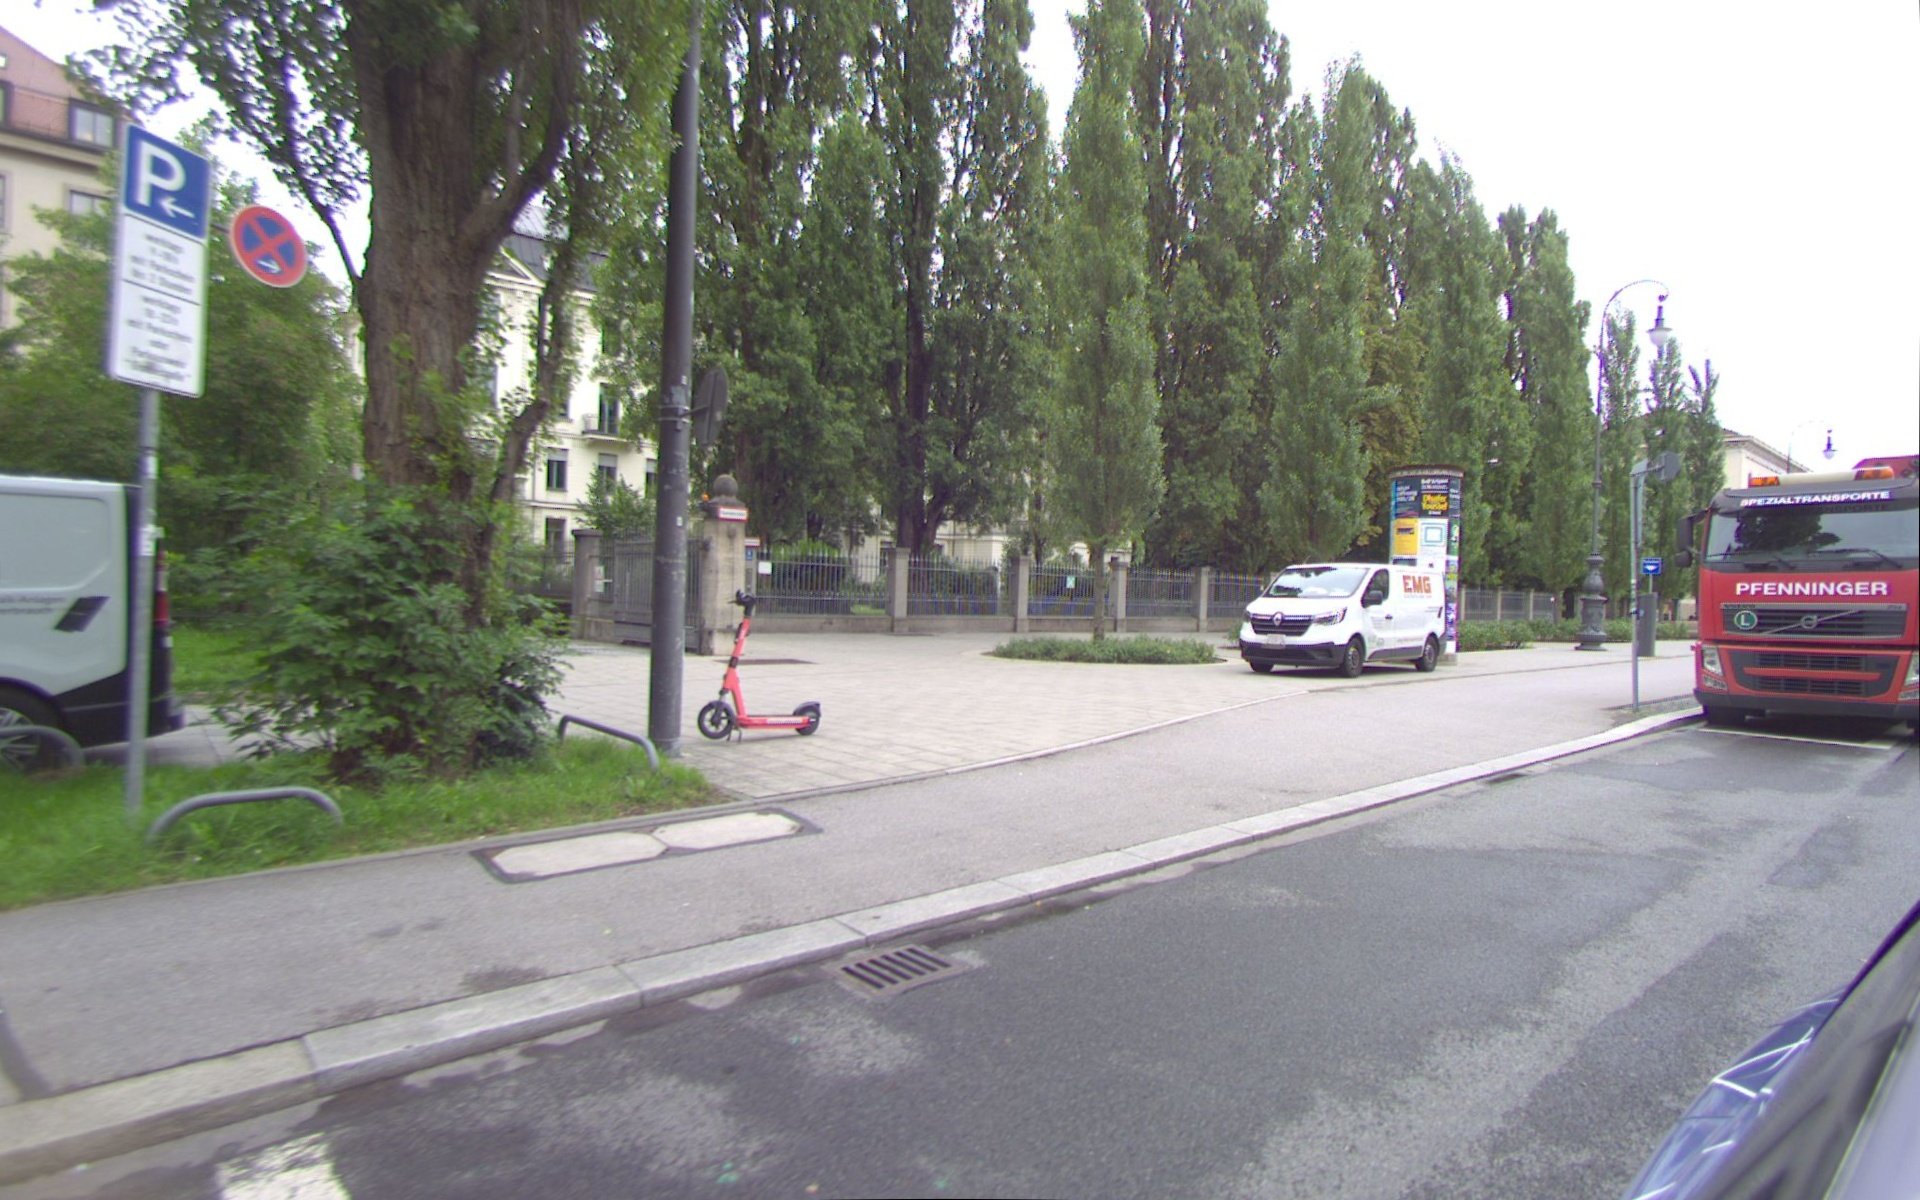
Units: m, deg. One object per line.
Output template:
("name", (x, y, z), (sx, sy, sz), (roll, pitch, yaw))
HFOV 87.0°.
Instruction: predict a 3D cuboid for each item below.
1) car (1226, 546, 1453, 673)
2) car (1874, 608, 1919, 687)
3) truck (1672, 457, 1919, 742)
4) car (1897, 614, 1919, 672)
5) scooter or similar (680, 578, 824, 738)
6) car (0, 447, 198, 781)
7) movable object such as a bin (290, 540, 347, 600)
("car", (6.876, 0.177, 18.045), (4.802, 1.969, 1.882), (1, -1, -43))
("car", (19.906, 0.943, 20.388), (4.144, 1.478, 1.790), (1, 0, -42))
("truck", (13.859, 0.018, 15.290), (10.244, 3.149, 2.718), (1, 1, -41))
("car", (23.914, 1.036, 24.184), (4.293, 1.326, 1.739), (1, 1, -41))
("scooter or similar", (-1.752, 0.468, 8.613), (1.165, 1.281, 0.337), (1, 0, -41))
("car", (-7.494, 0.044, 5.697), (4.994, 1.970, 1.997), (1, 1, -41))
("movable object such as a bin", (-24.625, -1.159, 38.812), (1.407, 2.168, 3.677), (1, 1, -39))
